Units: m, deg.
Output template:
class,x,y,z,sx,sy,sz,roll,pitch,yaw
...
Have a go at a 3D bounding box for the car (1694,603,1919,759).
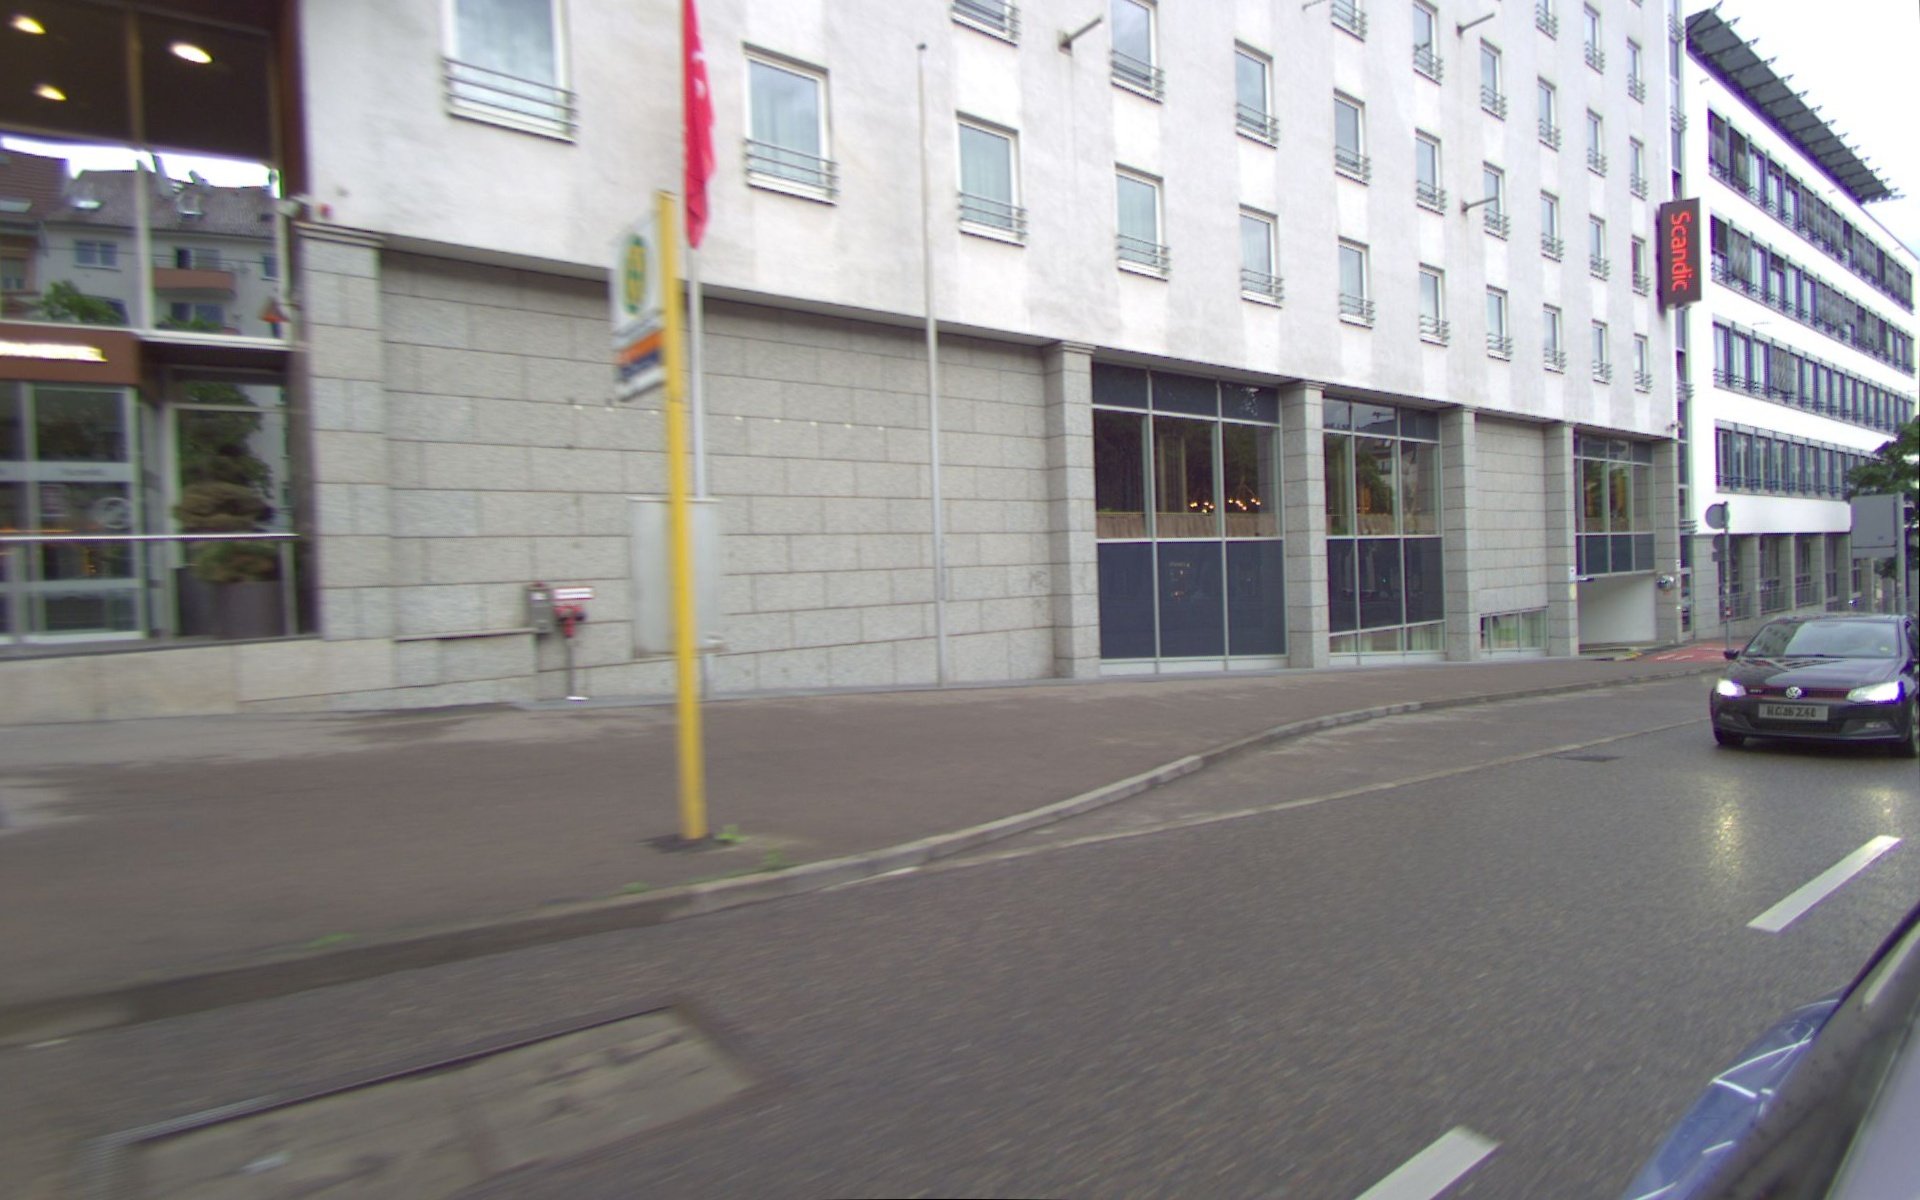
class,x,y,z,sx,sy,sz,roll,pitch,yaw
car,9.864,0.773,11.248,3.777,1.418,1.678,-1,-1,-37
